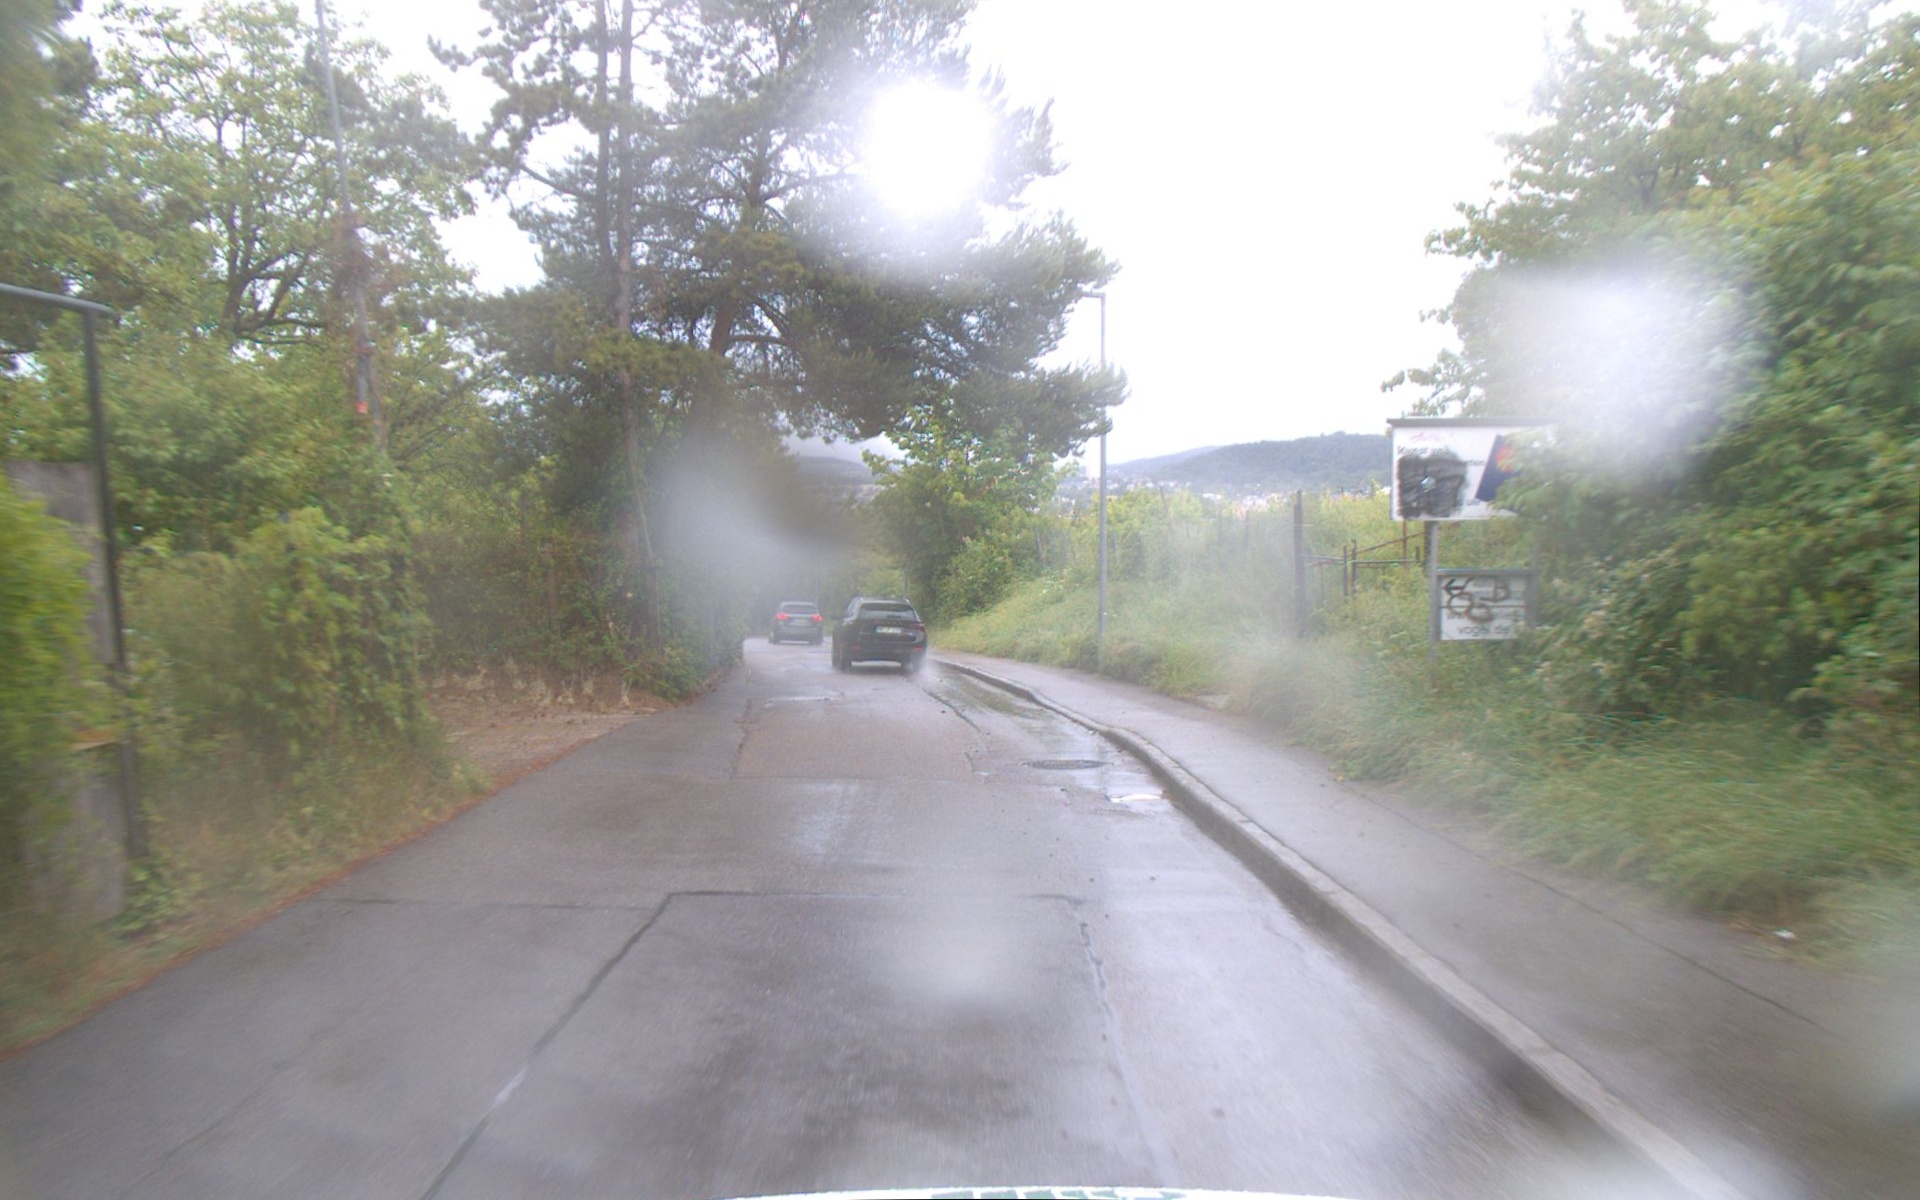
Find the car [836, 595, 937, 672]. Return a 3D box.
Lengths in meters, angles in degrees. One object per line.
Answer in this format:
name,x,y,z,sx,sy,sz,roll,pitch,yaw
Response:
car,-1.586,0.650,34.408,1.800,1.489,3.994,0,0,-7

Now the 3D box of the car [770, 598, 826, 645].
car,-5.945,0.765,60.418,1.648,1.592,3.784,1,0,-11
